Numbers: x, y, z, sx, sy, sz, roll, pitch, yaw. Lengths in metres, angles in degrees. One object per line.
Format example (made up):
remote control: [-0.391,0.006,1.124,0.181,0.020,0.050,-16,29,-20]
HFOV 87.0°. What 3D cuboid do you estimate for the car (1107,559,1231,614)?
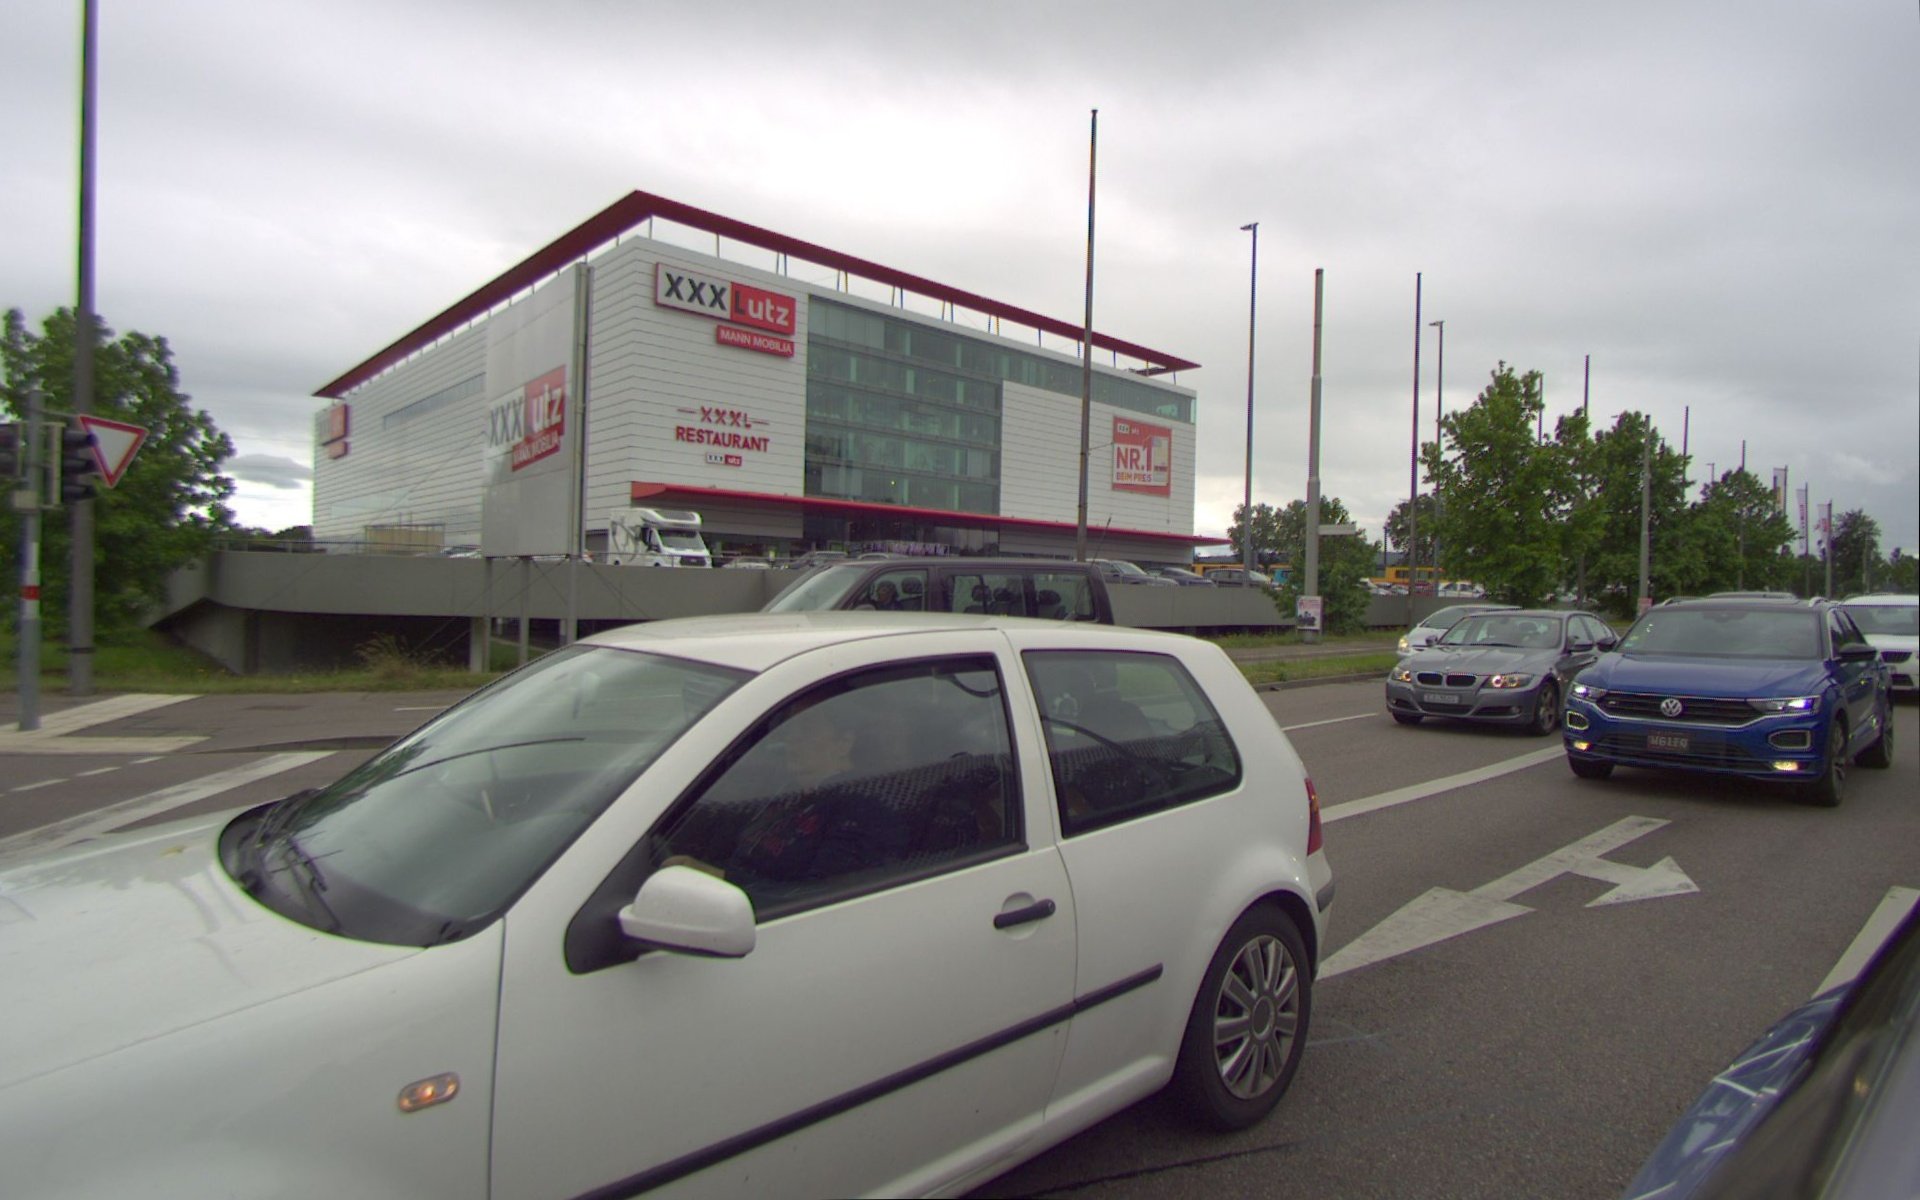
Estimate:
car: [7.506,-0.469,36.544,1.967,1.872,3.989,-1,0,-44]

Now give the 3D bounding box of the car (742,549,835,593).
car: [-8.390,-1.415,49.486,4.096,2.039,2.003,-1,0,-27]

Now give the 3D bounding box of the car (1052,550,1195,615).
car: [5.488,-0.549,34.400,1.967,2.039,4.520,-1,0,-44]

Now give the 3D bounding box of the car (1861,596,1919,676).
car: [19.412,0.662,20.097,4.146,1.433,1.799,-1,0,-42]

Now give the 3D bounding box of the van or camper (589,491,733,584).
van or camper: [-11.854,-2.296,39.683,2.668,3.175,7.223,-1,0,-41]

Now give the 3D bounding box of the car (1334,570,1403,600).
car: [28.689,-1.017,71.153,1.967,2.039,3.990,-1,0,-43]

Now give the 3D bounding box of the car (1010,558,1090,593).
car: [4.825,-1.291,54.738,1.967,1.761,3.989,-1,0,-44]

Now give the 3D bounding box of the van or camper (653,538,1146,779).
van or camper: [-0.531,0.461,10.836,4.849,2.039,2.164,-1,0,-34]

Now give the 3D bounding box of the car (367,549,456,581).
car: [-31.258,-1.976,57.737,4.187,1.697,1.774,-1,0,-42]

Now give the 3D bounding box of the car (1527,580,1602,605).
car: [40.879,-0.500,68.513,1.765,1.585,3.993,-1,0,-41]

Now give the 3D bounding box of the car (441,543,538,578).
car: [-24.135,-1.999,51.938,4.187,1.697,1.774,-1,0,-42]

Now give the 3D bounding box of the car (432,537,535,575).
car: [-23.026,-2.074,48.971,4.187,1.697,1.774,-1,0,-42]

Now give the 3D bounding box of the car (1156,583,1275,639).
car: [9.707,0.402,38.623,1.967,2.039,3.990,-1,0,-43]

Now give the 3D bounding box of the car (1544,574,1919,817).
car: [6.987,0.623,8.964,4.257,1.642,1.845,-1,0,-41]

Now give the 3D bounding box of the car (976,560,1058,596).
car: [2.949,-1.120,52.961,1.967,1.761,3.989,-1,0,-44]

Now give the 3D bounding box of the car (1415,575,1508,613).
car: [28.627,-0.327,57.836,1.967,2.039,4.316,-1,0,-43]

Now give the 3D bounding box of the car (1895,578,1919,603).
car: [89.033,-0.893,94.790,3.934,2.271,1.995,0,1,-45]

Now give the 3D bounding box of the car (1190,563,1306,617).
car: [11.351,-0.380,40.082,1.967,2.039,3.990,-1,0,-43]

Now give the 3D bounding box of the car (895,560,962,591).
car: [-1.979,-1.501,62.344,1.967,1.761,3.989,-1,0,-44]

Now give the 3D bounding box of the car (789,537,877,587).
car: [-5.550,-1.611,44.066,1.839,1.972,3.858,-1,0,-44]

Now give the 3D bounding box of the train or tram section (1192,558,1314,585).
train or tram section: [54.540,-5.226,189.895,3.573,4.899,23.224,-1,1,-44]

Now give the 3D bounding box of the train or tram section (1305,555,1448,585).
train or tram section: [70.729,-5.005,173.233,3.573,4.899,23.224,-1,1,-44]

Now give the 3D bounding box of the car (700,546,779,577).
car: [-12.768,-2.204,58.683,4.187,1.697,1.774,-1,0,-42]

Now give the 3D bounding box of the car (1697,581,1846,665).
car: [17.843,0.435,22.190,4.298,1.645,1.797,-1,0,-41]

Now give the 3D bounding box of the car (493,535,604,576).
car: [-18.185,-1.935,44.819,4.187,1.697,1.774,-1,0,-42]

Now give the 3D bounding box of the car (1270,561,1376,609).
car: [16.165,-0.622,45.129,1.967,2.039,3.990,-1,0,-43]

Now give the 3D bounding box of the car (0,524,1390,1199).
car: [-0.687,0.653,2.663,3.936,1.496,1.835,-1,0,-42]

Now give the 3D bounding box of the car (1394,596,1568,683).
car: [9.699,0.655,18.724,3.861,1.389,1.691,-1,0,-44]

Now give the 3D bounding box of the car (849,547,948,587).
car: [-2.526,-1.304,40.871,1.839,1.455,3.983,-1,0,-44]

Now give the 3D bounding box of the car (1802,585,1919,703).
car: [14.891,0.594,15.964,4.298,1.645,1.797,-1,0,-41]

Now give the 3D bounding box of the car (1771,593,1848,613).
car: [63.699,0.223,75.912,1.772,1.433,4.210,-1,0,-42]

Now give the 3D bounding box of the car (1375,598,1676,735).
car: [7.330,0.743,12.889,4.791,1.429,1.815,1,-1,-41]
